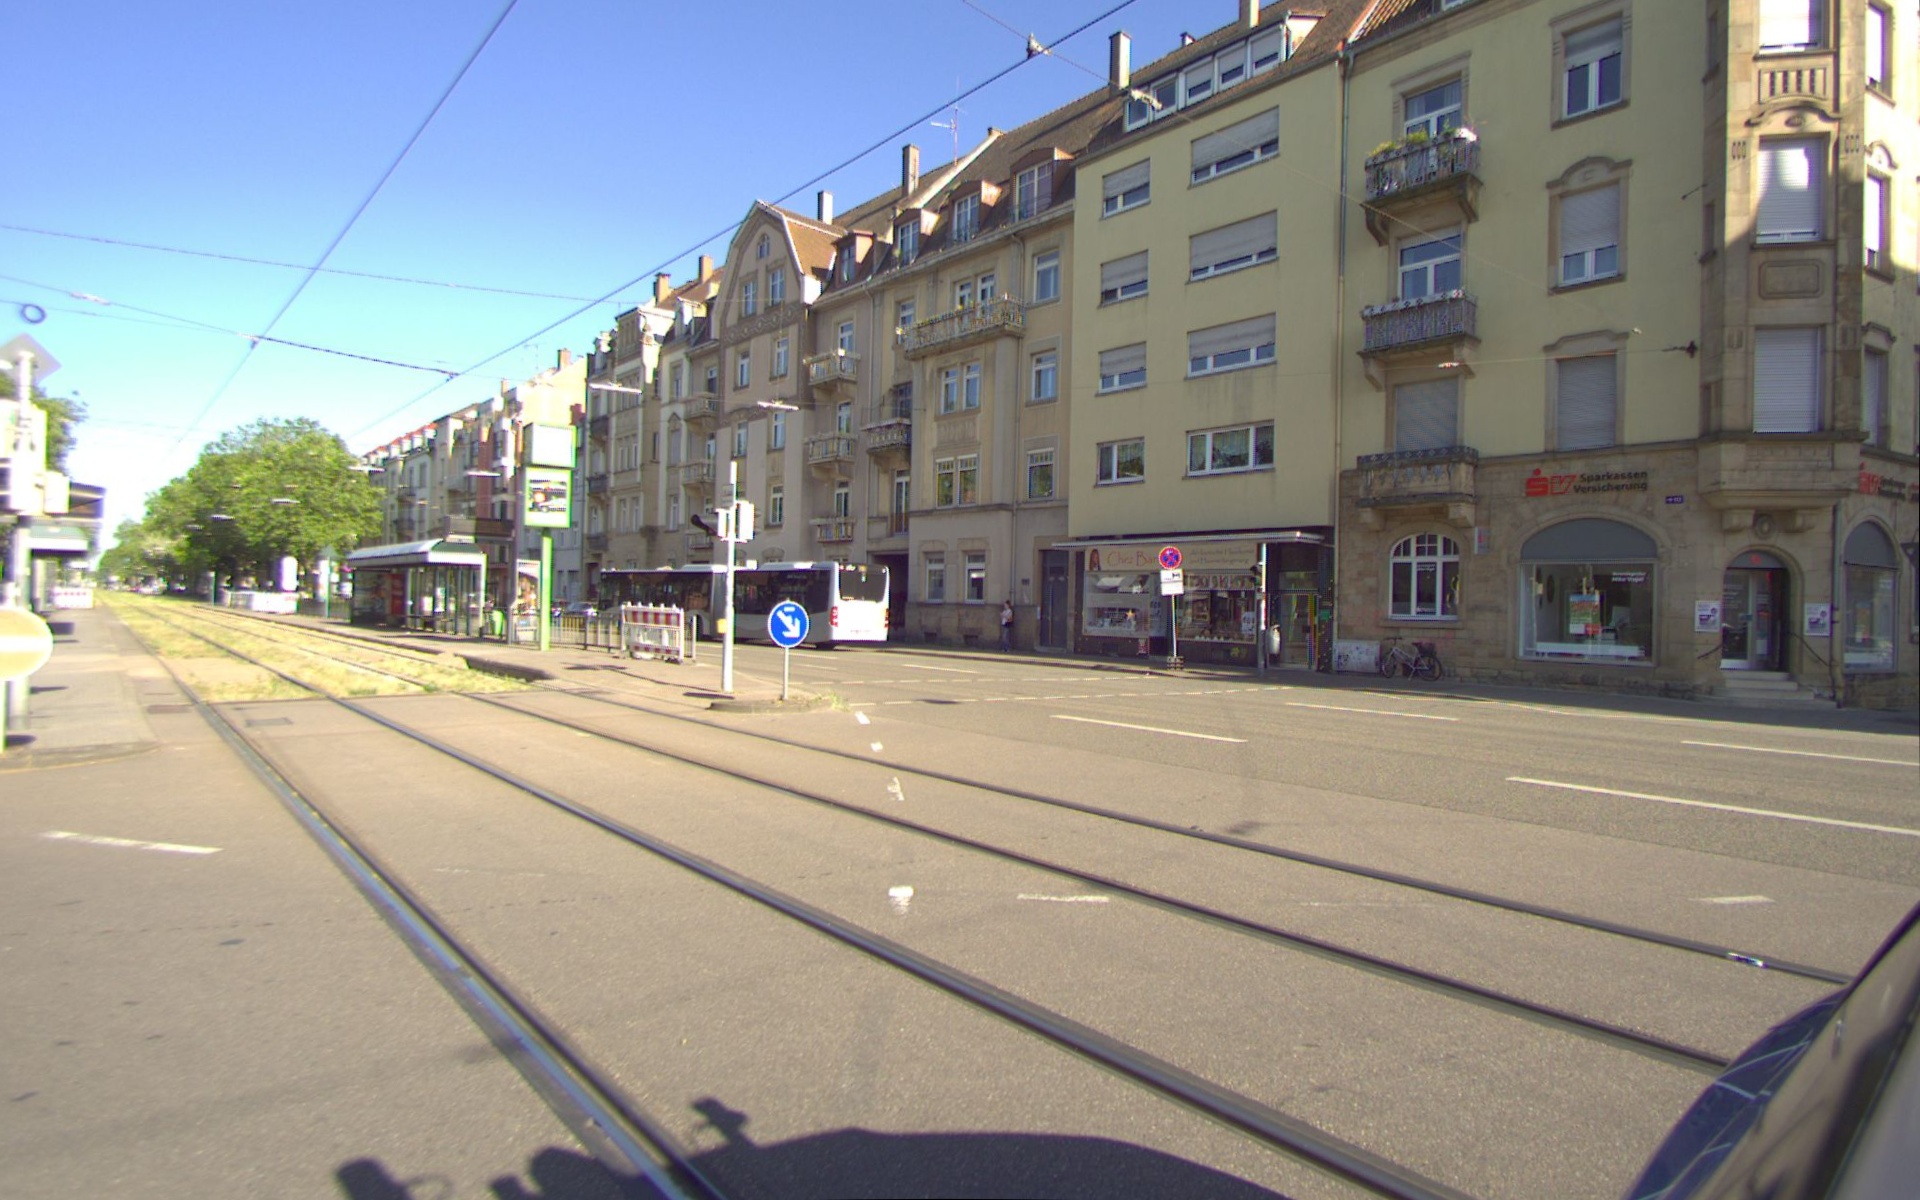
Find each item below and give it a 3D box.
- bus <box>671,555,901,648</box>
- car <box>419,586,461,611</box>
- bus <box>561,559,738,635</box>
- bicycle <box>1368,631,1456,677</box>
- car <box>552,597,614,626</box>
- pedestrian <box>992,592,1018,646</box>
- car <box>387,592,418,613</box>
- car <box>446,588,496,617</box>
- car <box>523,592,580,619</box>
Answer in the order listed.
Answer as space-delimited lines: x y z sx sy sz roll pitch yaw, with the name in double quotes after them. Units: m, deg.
-6.917 -0.001 38.428 3.081 3.072 10.657 3 -1 -44 "bus"
-40.237 -0.101 78.261 1.770 1.813 3.991 3 -1 -43 "car"
-14.414 -0.179 46.187 3.043 3.055 10.838 3 -1 -44 "bus"
10.983 1.298 24.652 0.508 0.987 1.950 -1 1 -40 "bicycle"
-20.658 0.603 55.387 1.722 1.438 3.990 3 -1 -44 "car"
1.551 0.665 34.838 0.695 1.826 0.521 2 -1 -38 "pedestrian"
-47.079 0.200 85.434 1.534 1.627 3.570 3 -1 -40 "car"
-34.734 0.188 71.849 1.996 1.919 3.991 3 -1 -43 "car"
-24.030 0.329 59.481 1.722 1.438 3.990 3 -1 -44 "car"
